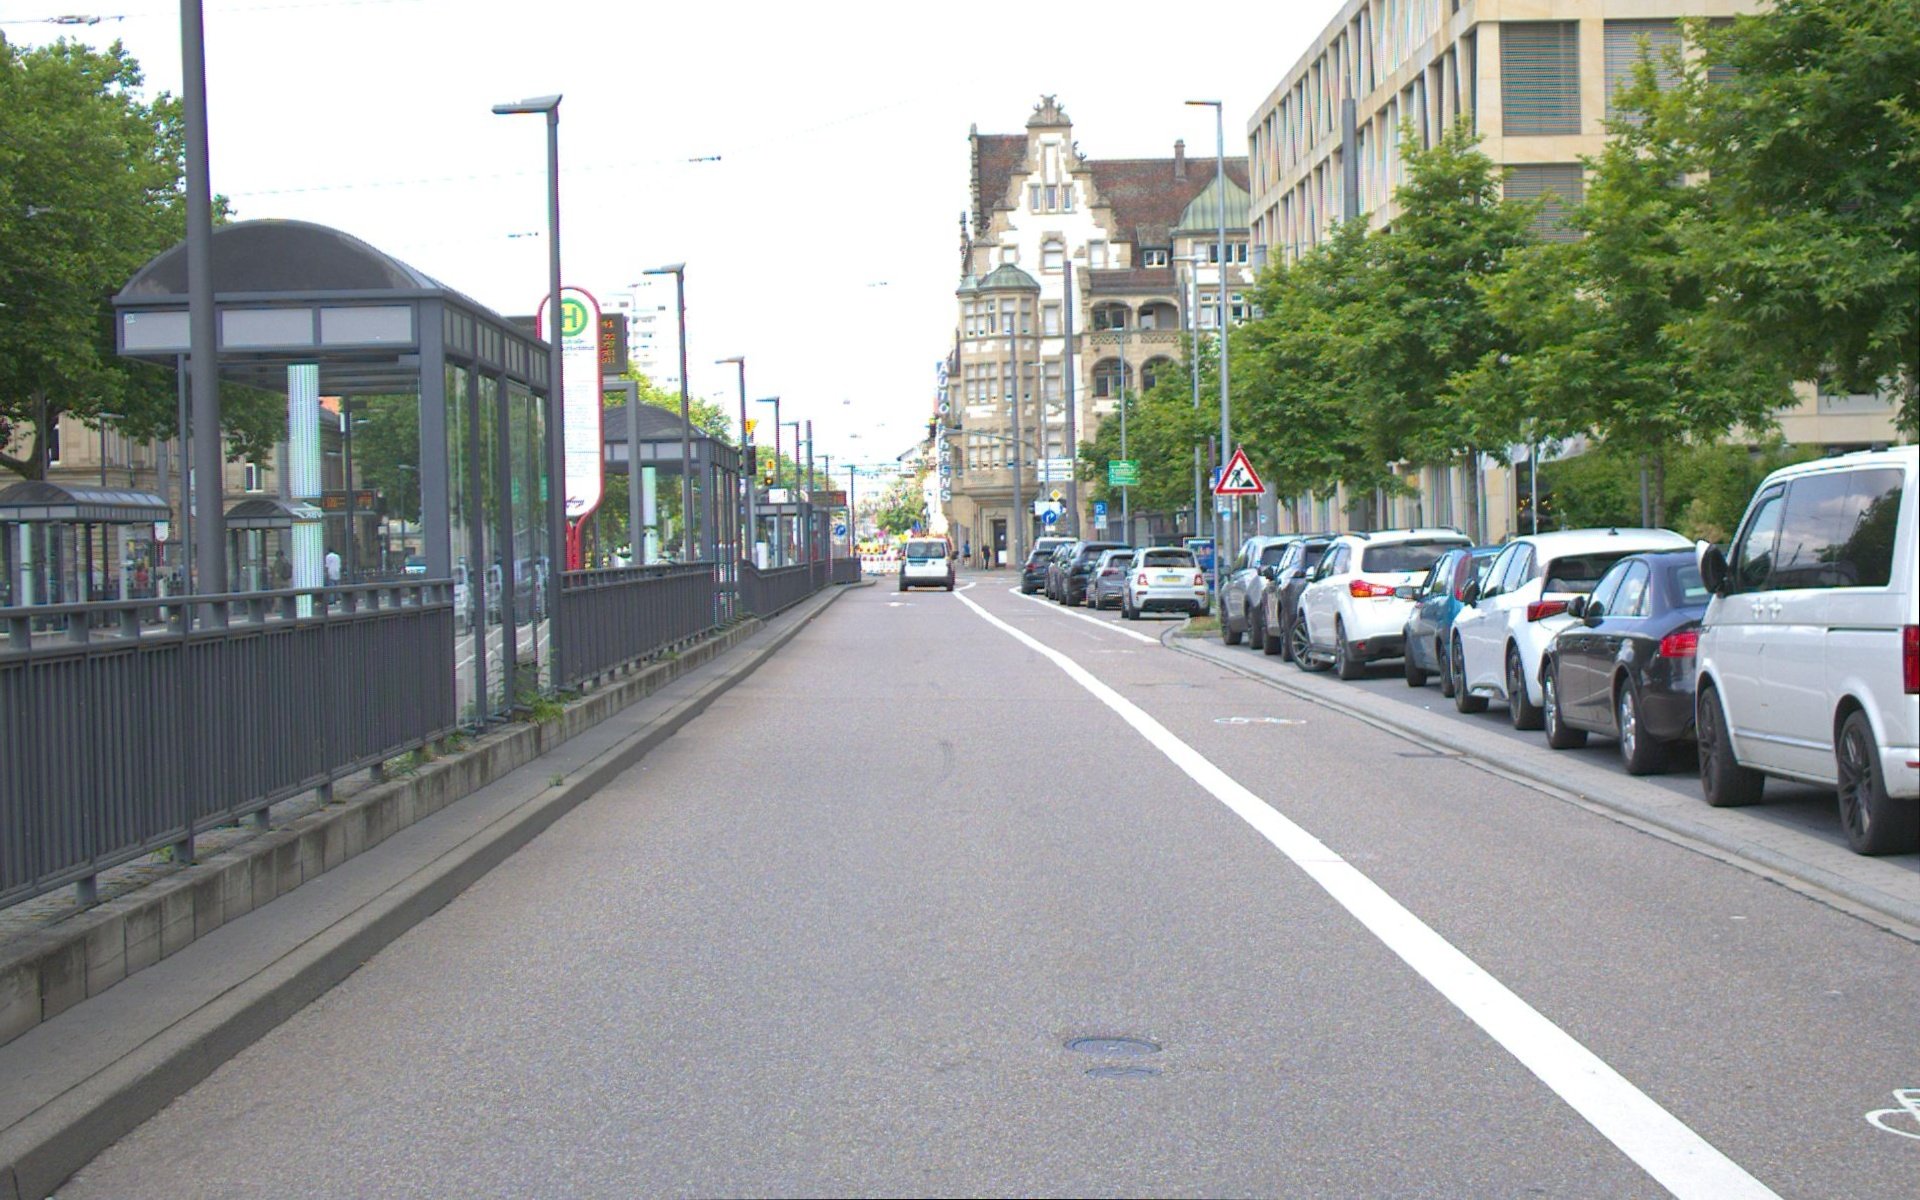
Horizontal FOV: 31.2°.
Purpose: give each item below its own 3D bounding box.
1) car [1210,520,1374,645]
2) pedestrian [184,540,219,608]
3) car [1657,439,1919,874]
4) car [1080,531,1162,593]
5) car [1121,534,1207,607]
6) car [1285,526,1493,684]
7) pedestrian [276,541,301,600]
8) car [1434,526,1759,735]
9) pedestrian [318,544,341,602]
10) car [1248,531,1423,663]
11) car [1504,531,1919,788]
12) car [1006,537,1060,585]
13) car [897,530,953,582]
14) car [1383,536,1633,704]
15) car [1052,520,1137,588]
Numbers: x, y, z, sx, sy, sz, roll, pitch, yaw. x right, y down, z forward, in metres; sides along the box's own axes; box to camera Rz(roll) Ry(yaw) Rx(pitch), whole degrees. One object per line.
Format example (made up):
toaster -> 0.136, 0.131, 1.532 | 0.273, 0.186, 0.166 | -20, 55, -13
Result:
car -> 4.738, -0.278, 49.556 | 1.685, 1.628, 3.991 | -4, 1, -3
pedestrian -> -17.077, -0.587, 77.414 | 0.701, 1.507, 0.803 | -2, 1, -11
car -> 5.094, 0.163, 17.693 | 1.881, 1.932, 4.844 | -3, 1, -1
car -> 3.831, -0.922, 82.384 | 1.591, 1.429, 4.108 | 0, 1, -3
car -> 4.204, -0.636, 71.284 | 1.591, 1.455, 3.613 | 0, 1, 0
car -> 4.762, 0.015, 38.677 | 1.685, 1.600, 4.152 | -3, 1, -1
pedestrian -> -17.737, -0.780, 90.756 | 0.500, 1.553, 0.643 | -1, 1, -1
car -> 5.171, 0.194, 28.447 | 1.792, 1.524, 4.159 | -3, 1, -1
pedestrian -> -18.581, -0.787, 101.320 | 0.500, 1.677, 0.643 | -3, 1, -1
car -> 4.772, -0.074, 44.160 | 1.685, 1.543, 3.927 | -3, 1, -1
car -> 5.021, 0.319, 23.127 | 1.881, 1.482, 4.564 | -2, 1, -1
car -> 2.309, -1.253, 109.205 | 1.443, 1.465, 4.093 | 0, 1, -3
car -> -1.214, -1.518, 117.117 | 1.868, 1.740, 4.000 | 0, 1, -1
car -> 5.258, 0.146, 33.427 | 1.685, 1.452, 3.951 | -3, 1, -1
car -> 3.419, -1.198, 88.128 | 1.738, 1.664, 4.841 | 0, 1, -3
